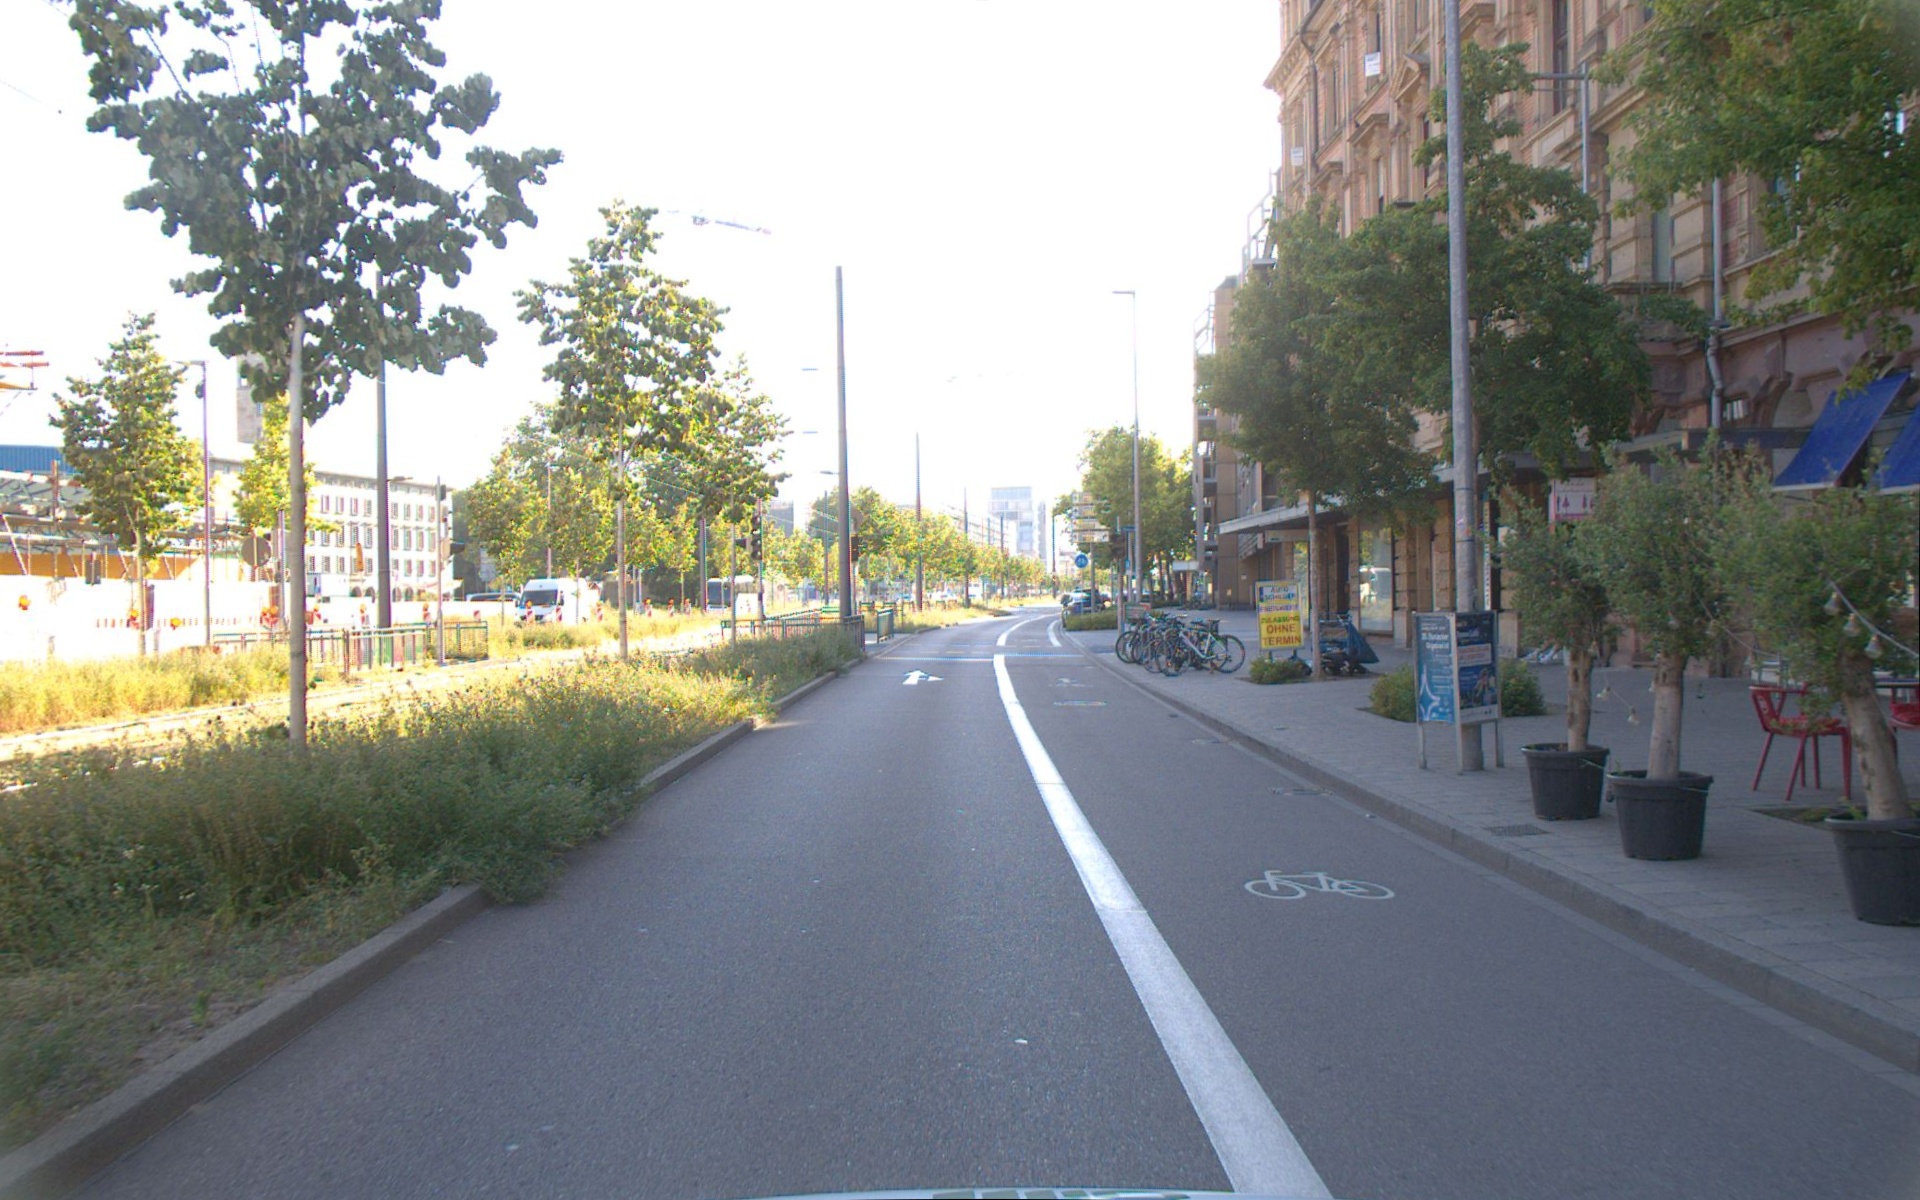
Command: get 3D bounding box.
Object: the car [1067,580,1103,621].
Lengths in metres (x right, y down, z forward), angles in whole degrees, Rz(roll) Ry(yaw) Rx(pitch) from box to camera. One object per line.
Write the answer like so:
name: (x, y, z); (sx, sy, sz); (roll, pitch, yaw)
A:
car: (6.477, 0.014, 85.823); (1.698, 1.952, 4.395); (-3, 0, 3)

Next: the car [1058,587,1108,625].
car: (5.802, 0.258, 78.407); (1.892, 1.626, 4.699); (-3, 0, 0)

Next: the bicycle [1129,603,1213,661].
bicycle: (4.492, 0.670, 35.237); (1.685, 1.123, 0.507); (-3, 0, 4)

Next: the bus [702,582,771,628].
bus: (-18.676, 0.348, 139.123); (2.739, 3.657, 12.707); (-1, 0, 6)

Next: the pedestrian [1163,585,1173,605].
pedestrian: (17.675, -0.438, 140.534); (0.772, 1.677, 1.137); (-2, 0, 6)

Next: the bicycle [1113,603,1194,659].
bicycle: (4.335, 0.692, 37.108); (1.717, 1.123, 0.507); (-3, 0, 4)

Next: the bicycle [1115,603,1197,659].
bicycle: (4.317, 0.686, 36.517); (1.717, 1.123, 0.507); (-3, 0, 4)

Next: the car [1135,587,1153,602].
car: (19.885, -0.586, 178.812); (1.670, 1.443, 4.280); (-3, 0, 9)

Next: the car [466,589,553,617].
car: (-29.981, 0.198, 110.171); (5.116, 1.747, 2.126); (-1, 0, 5)

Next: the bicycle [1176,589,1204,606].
bicycle: (16.173, -0.174, 116.169); (1.860, 1.112, 0.392); (-2, 0, 0)

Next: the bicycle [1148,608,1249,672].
bicycle: (4.411, 0.734, 30.615); (1.767, 1.065, 0.566); (-3, 0, 4)

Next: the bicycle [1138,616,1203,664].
bicycle: (4.300, 0.816, 33.791); (1.248, 0.892, 0.507); (-3, 0, 5)

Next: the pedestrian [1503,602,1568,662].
pedestrian: (9.649, 0.527, 27.750); (0.797, 0.979, 0.804); (-1, 0, 1)

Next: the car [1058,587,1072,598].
car: (13.969, -0.973, 220.207); (1.739, 1.453, 4.003); (0, 0, 6)

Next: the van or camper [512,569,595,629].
van or camper: (-19.093, -0.097, 78.088); (2.177, 2.553, 7.199); (-3, 1, -1)

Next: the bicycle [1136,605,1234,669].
bicycle: (4.360, 0.710, 32.139); (1.805, 1.123, 0.566); (-3, 0, 4)
